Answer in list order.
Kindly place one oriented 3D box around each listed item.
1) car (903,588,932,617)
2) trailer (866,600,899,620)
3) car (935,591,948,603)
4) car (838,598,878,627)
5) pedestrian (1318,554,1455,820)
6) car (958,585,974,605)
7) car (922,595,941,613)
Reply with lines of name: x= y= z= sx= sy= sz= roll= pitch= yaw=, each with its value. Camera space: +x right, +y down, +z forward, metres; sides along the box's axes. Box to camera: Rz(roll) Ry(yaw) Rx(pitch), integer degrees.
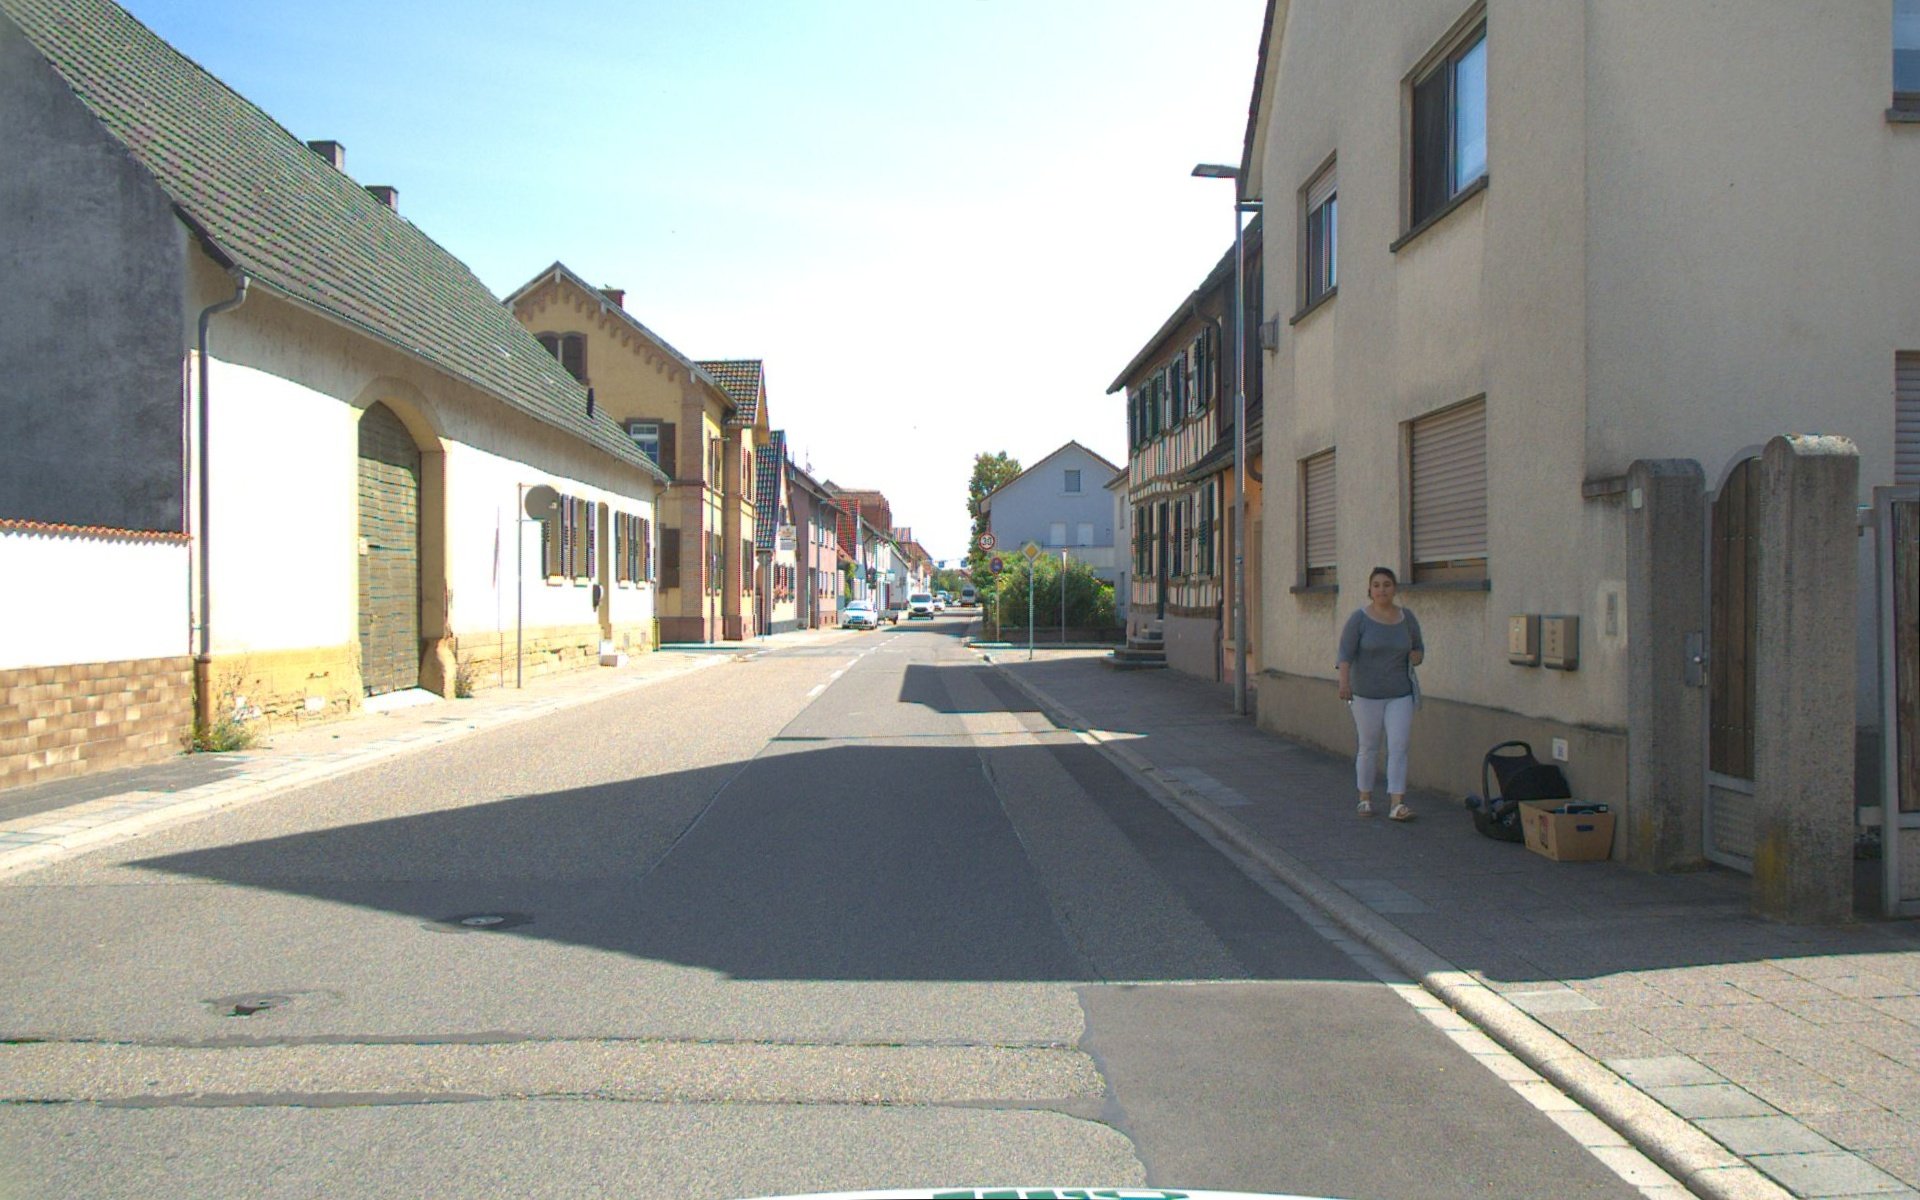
car: x=-3.247 y=0.233 z=126.363 sx=2.114 sy=2.116 sz=3.998 roll=-1 pitch=-1 yaw=-2
trailer: x=-4.967 y=0.615 z=106.371 sx=1.954 sy=1.109 sz=3.998 roll=-4 pitch=1 yaw=-2
car: x=-2.652 y=-0.421 z=236.900 sx=1.829 sy=1.571 sz=3.837 roll=-1 pitch=0 yaw=-1
car: x=-5.495 y=0.669 z=89.669 sx=1.953 sy=1.467 sz=3.999 roll=-1 pitch=0 yaw=-1
pedestrian: x=2.803 y=0.549 z=10.950 sx=0.704 sy=1.693 sz=0.893 roll=0 pitch=0 yaw=2
car: x=0.812 y=-0.643 z=217.315 sx=1.976 sy=2.612 sz=3.999 roll=-1 pitch=0 yaw=-2
car: x=-2.916 y=0.389 z=171.665 sx=1.953 sy=1.780 sz=3.999 roll=0 pitch=0 yaw=-1
